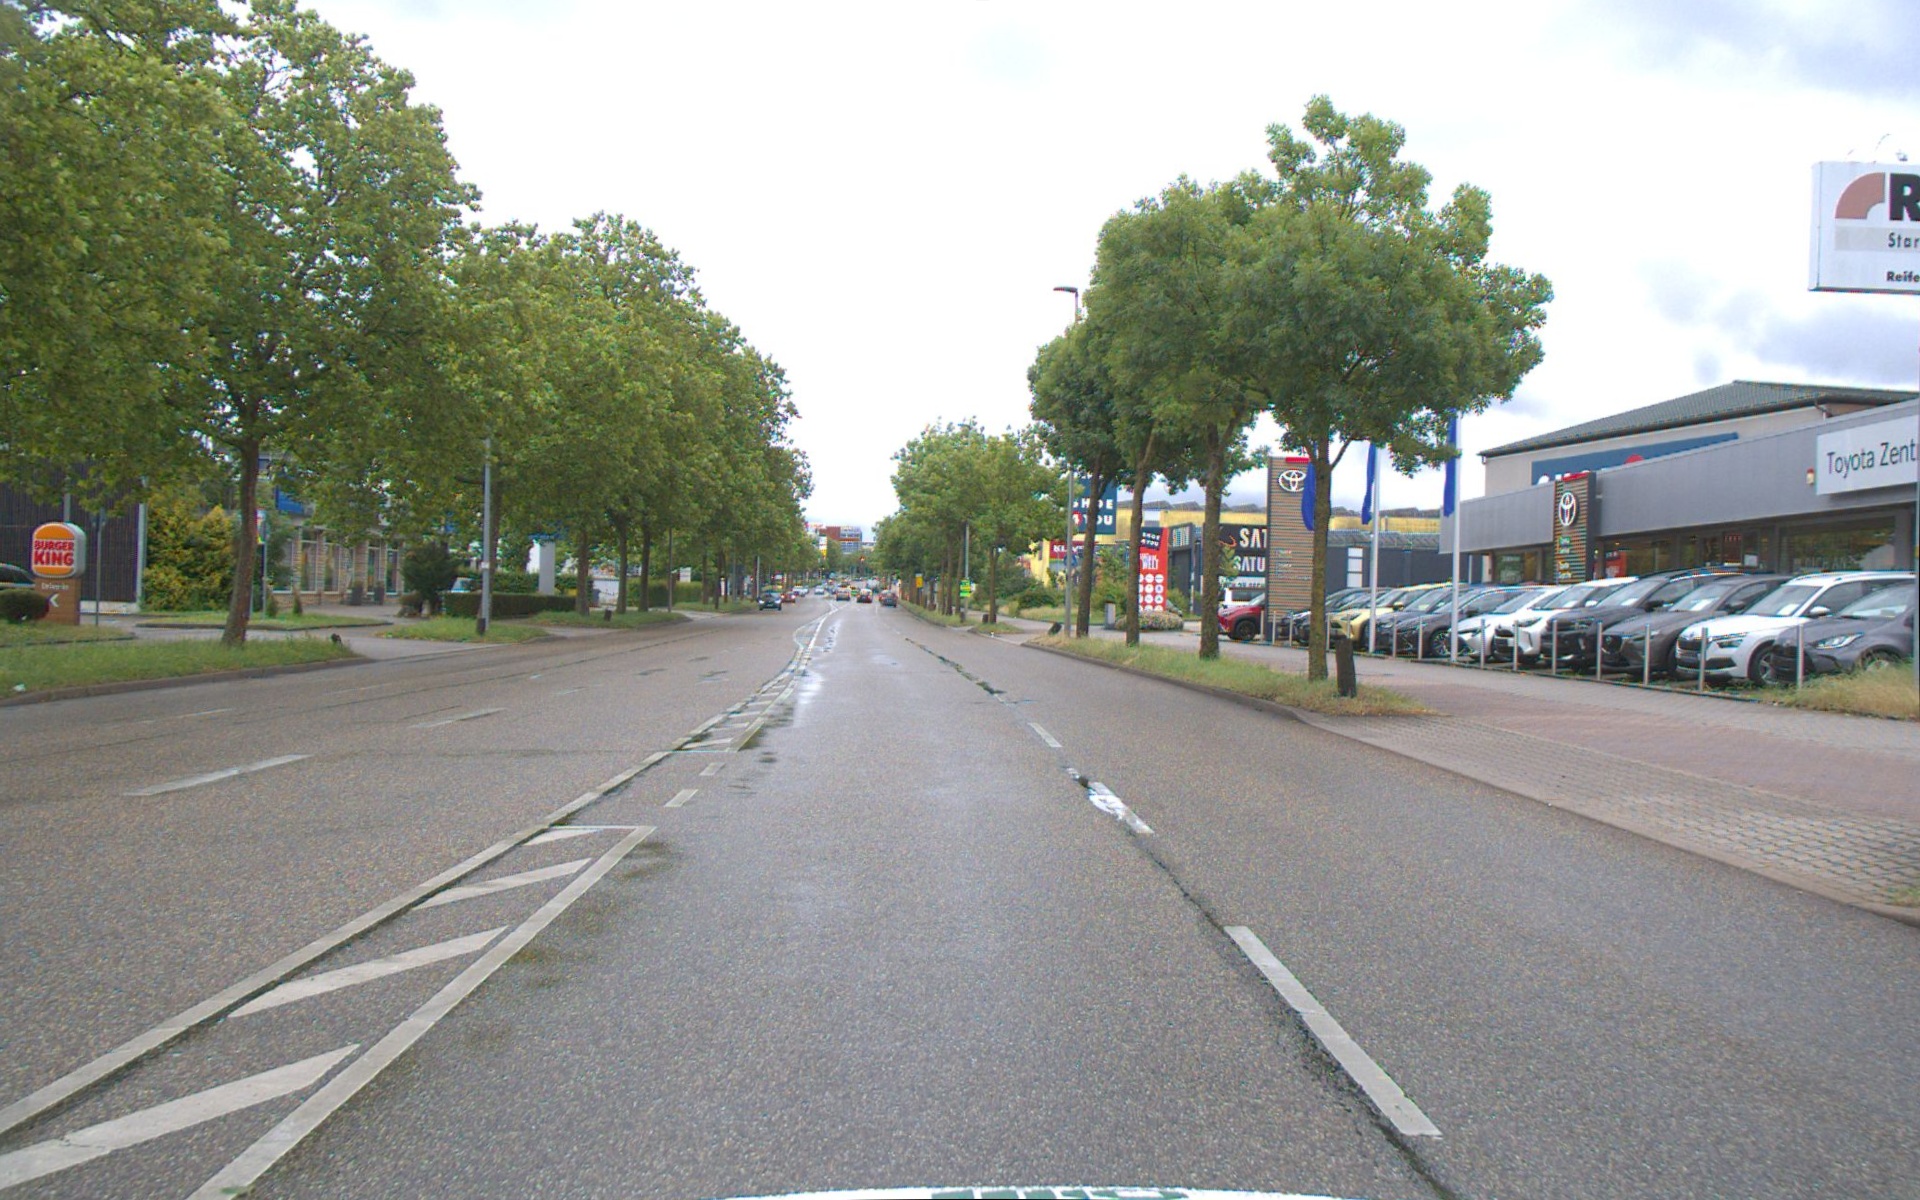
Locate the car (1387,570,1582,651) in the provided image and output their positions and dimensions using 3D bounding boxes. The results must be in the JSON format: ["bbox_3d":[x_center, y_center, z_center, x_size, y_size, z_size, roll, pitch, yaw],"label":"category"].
[{"bbox_3d":[11.986,0.235,37.947,3.906,1.818,1.812,0,0,-1],"label":"car"}]

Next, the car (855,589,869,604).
[{"bbox_3d":[-13.182,-0.507,222.620,1.710,2.049,3.998,0,0,-2],"label":"car"}]

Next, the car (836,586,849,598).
[{"bbox_3d":[-17.416,-1.135,245.219,1.710,1.730,3.998,0,0,-2],"label":"car"}]

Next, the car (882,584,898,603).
[{"bbox_3d":[-7.921,-0.758,186.746,1.710,2.049,3.998,0,0,-2],"label":"car"}]

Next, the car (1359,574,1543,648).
[{"bbox_3d":[11.900,0.250,40.255,3.906,1.574,1.710,-3,0,-1],"label":"car"}]

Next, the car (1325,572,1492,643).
[{"bbox_3d":[11.534,0.190,42.650,3.765,1.593,1.665,-3,0,-6],"label":"car"}]

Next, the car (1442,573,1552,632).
[{"bbox_3d":[15.957,0.072,49.358,1.836,1.650,4.121,-1,0,-2],"label":"car"}]

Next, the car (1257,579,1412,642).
[{"bbox_3d":[10.584,0.282,46.906,3.907,1.676,1.844,-1,0,-3],"label":"car"}]

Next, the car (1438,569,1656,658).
[{"bbox_3d":[12.200,0.274,34.528,3.906,1.818,1.812,0,0,-1],"label":"car"}]

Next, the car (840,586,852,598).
[{"bbox_3d":[-17.859,-1.262,259.882,1.853,1.909,4.121,0,0,-4],"label":"car"}]

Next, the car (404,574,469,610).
[{"bbox_3d":[-22.364,-0.346,70.779,1.787,1.512,3.936,0,0,-4],"label":"car"}]

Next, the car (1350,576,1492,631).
[{"bbox_3d":[14.772,0.112,53.168,4.024,1.650,1.881,-1,0,1],"label":"car"}]

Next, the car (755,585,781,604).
[{"bbox_3d":[-15.238,-0.411,131.547,1.768,1.488,3.844,0,0,-3],"label":"car"}]

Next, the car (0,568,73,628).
[{"bbox_3d":[-21.078,-0.097,35.737,3.108,1.175,1.291,3,0,5],"label":"car"}]

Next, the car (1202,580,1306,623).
[{"bbox_3d":[14.549,0.077,81.903,4.737,2.049,1.984,0,0,-13],"label":"car"}]

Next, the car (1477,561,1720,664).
[{"bbox_3d":[12.267,0.214,31.937,3.910,1.615,1.811,-5,1,-4],"label":"car"}]

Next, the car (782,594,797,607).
[{"bbox_3d":[-20.493,0.021,198.777,1.692,1.544,3.818,0,0,-3],"label":"car"}]

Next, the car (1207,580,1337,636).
[{"bbox_3d":[9.994,0.242,53.169,3.764,1.631,1.794,-2,0,-3],"label":"car"}]

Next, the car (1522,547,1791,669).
[{"bbox_3d":[12.254,0.132,29.275,3.906,1.817,1.812,-4,0,-1],"label":"car"}]

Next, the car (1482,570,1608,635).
[{"bbox_3d":[15.802,0.050,44.897,1.836,1.650,4.121,-1,0,-2],"label":"car"}]

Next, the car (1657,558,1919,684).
[{"bbox_3d":[12.745,0.277,24.609,3.906,1.570,1.812,-4,0,-1],"label":"car"}]

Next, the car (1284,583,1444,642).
[{"bbox_3d":[10.941,0.336,44.952,3.907,1.565,1.799,0,0,-3],"label":"car"}]

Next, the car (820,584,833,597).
[{"bbox_3d":[-20.864,-1.476,258.108,1.954,2.049,3.997,0,0,-4],"label":"car"}]

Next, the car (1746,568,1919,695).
[{"bbox_3d":[12.849,0.344,22.119,3.757,1.486,1.826,-4,0,-3],"label":"car"}]

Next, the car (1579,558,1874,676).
[{"bbox_3d":[12.432,0.268,26.994,3.906,1.612,1.812,-4,0,-1],"label":"car"}]
